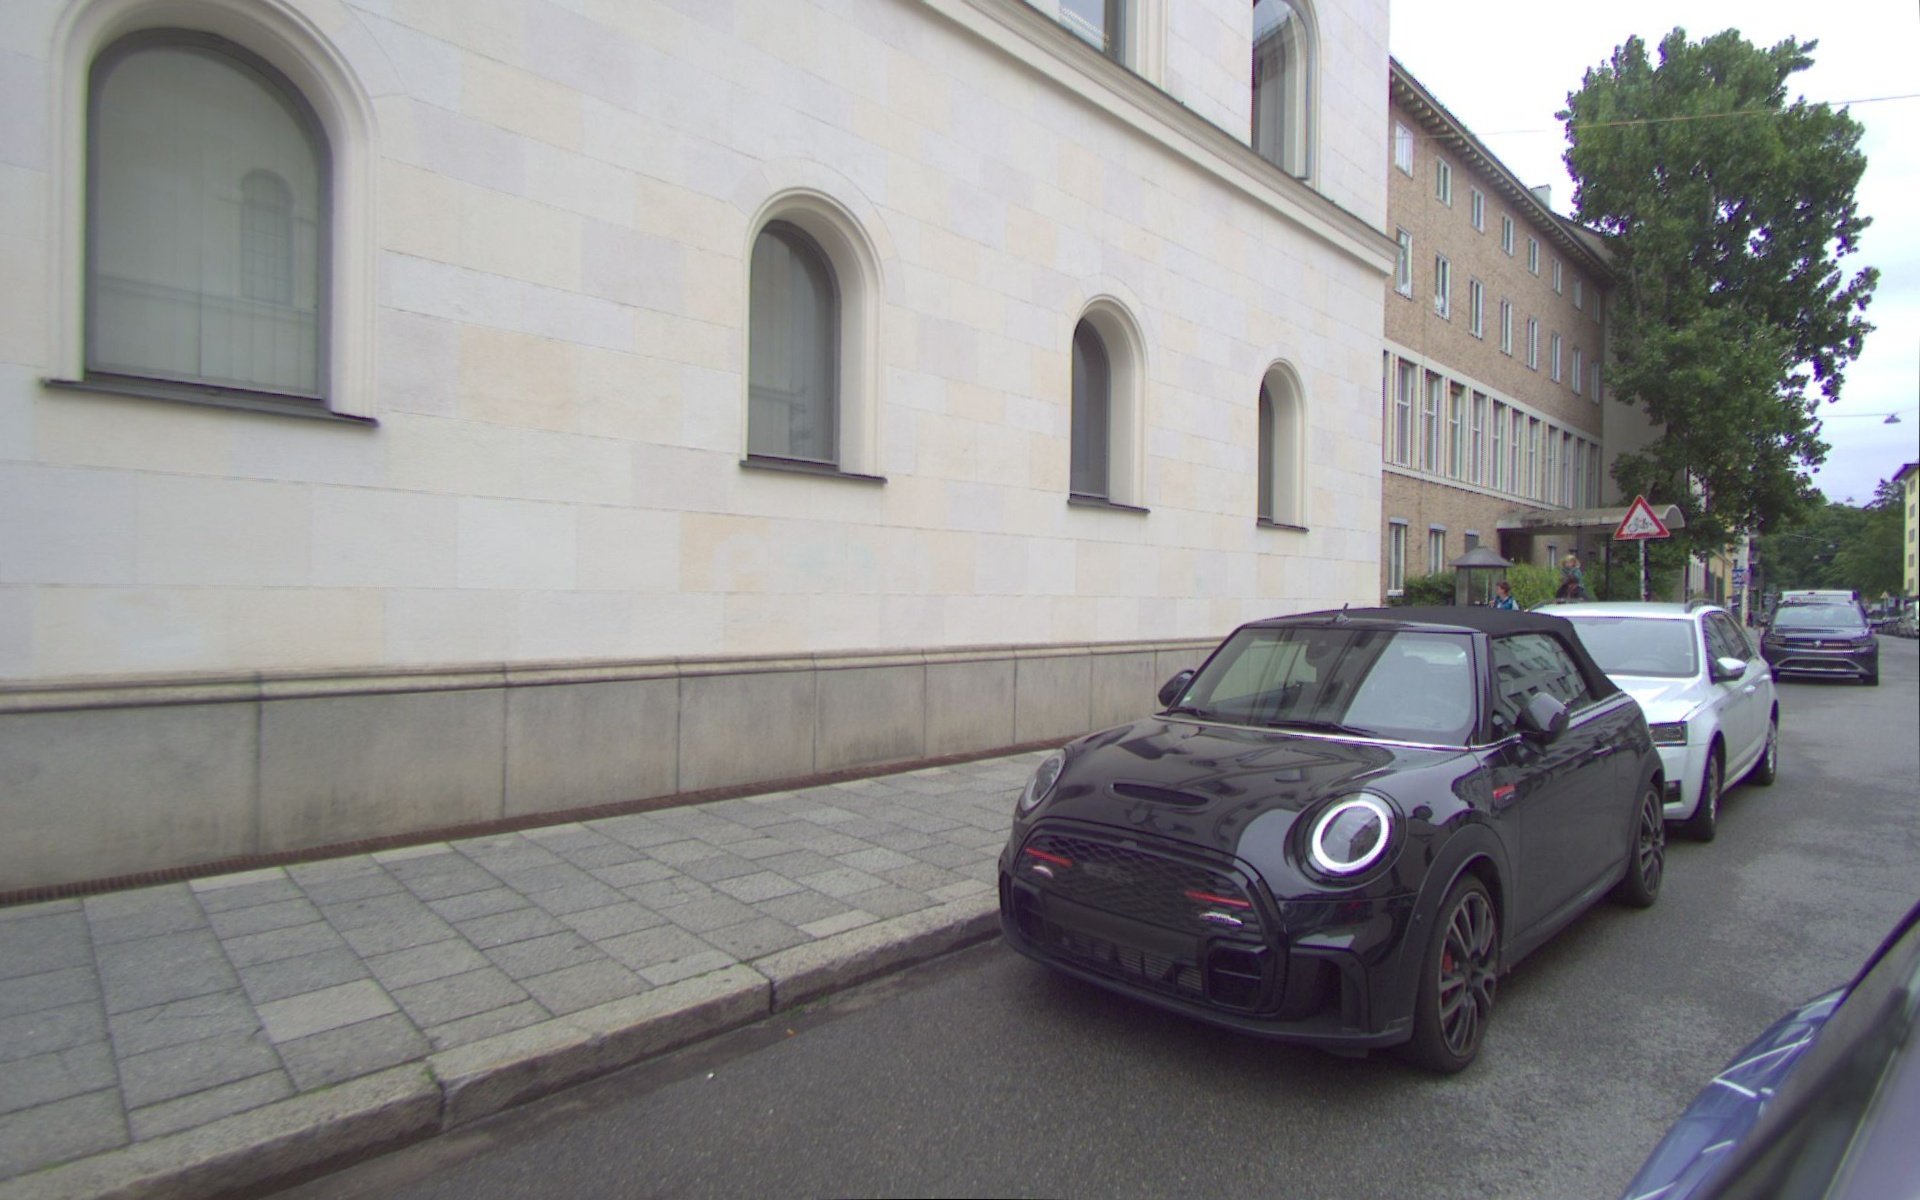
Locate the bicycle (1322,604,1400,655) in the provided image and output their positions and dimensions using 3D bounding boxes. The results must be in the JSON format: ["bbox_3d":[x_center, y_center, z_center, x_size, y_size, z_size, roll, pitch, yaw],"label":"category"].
[{"bbox_3d":[8.971,0.641,22.698,0.342,1.055,1.632,1,1,-41],"label":"bicycle"}]

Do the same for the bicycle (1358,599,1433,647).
[{"bbox_3d":[10.344,0.541,24.077,0.342,1.055,1.632,1,1,-41],"label":"bicycle"}]

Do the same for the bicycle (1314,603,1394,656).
[{"bbox_3d":[8.628,0.626,22.200,0.342,1.055,1.632,1,1,-41],"label":"bicycle"}]

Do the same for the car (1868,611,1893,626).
[{"bbox_3d":[94.938,1.910,104.379,1.704,1.518,3.943,1,0,39],"label":"car"}]

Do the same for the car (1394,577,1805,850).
[{"bbox_3d":[5.085,0.634,7.764,1.790,1.495,4.243,2,1,45],"label":"car"}]

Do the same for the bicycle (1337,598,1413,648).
[{"bbox_3d":[9.572,0.512,23.388,0.342,1.055,1.632,1,1,-41],"label":"bicycle"}]

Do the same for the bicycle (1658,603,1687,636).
[{"bbox_3d":[24.986,0.672,35.482,0.669,1.087,2.192,1,0,40],"label":"bicycle"}]

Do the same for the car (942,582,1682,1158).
[{"bbox_3d":[1.797,0.679,4.405,3.710,1.444,1.541,0,-1,-44],"label":"car"}]

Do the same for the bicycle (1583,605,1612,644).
[{"bbox_3d":[18.001,0.684,28.566,0.422,1.067,1.464,0,-1,43],"label":"bicycle"}]

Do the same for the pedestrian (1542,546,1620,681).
[{"bbox_3d":[10.558,0.204,17.224,0.781,2.224,0.814,1,2,-35],"label":"pedestrian"}]

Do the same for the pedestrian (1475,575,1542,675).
[{"bbox_3d":[9.712,0.434,17.920,0.739,1.715,0.858,1,-1,-43],"label":"pedestrian"}]

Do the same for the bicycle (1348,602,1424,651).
[{"bbox_3d":[9.985,0.612,23.751,0.342,1.055,1.632,1,1,-41],"label":"bicycle"}]

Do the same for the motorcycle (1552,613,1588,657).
[{"bbox_3d":[15.622,0.882,25.907,0.488,1.067,1.895,0,-1,41],"label":"motorcycle"}]

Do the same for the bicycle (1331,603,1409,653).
[{"bbox_3d":[9.290,0.621,22.979,0.342,1.055,1.632,1,1,-41],"label":"bicycle"}]

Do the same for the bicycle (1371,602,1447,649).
[{"bbox_3d":[10.841,0.606,24.468,1.629,1.055,0.343,2,1,43],"label":"bicycle"}]

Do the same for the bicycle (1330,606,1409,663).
[{"bbox_3d":[8.231,0.686,20.374,1.429,1.055,0.343,2,1,45],"label":"bicycle"}]

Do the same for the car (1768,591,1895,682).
[{"bbox_3d":[17.145,0.646,19.949,1.745,1.614,3.897,0,0,41],"label":"car"}]

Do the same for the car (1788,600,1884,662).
[{"bbox_3d":[22.226,0.736,25.631,1.673,1.435,4.135,0,-1,43],"label":"car"}]

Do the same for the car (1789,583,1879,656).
[{"bbox_3d":[25.601,0.536,29.626,1.881,1.948,4.800,1,0,42],"label":"car"}]

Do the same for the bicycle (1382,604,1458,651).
[{"bbox_3d":[11.259,0.656,24.806,1.628,1.055,0.343,2,1,41],"label":"bicycle"}]

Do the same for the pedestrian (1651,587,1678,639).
[{"bbox_3d":[23.029,0.420,33.065,0.862,1.653,0.588,1,-1,-45],"label":"pedestrian"}]
